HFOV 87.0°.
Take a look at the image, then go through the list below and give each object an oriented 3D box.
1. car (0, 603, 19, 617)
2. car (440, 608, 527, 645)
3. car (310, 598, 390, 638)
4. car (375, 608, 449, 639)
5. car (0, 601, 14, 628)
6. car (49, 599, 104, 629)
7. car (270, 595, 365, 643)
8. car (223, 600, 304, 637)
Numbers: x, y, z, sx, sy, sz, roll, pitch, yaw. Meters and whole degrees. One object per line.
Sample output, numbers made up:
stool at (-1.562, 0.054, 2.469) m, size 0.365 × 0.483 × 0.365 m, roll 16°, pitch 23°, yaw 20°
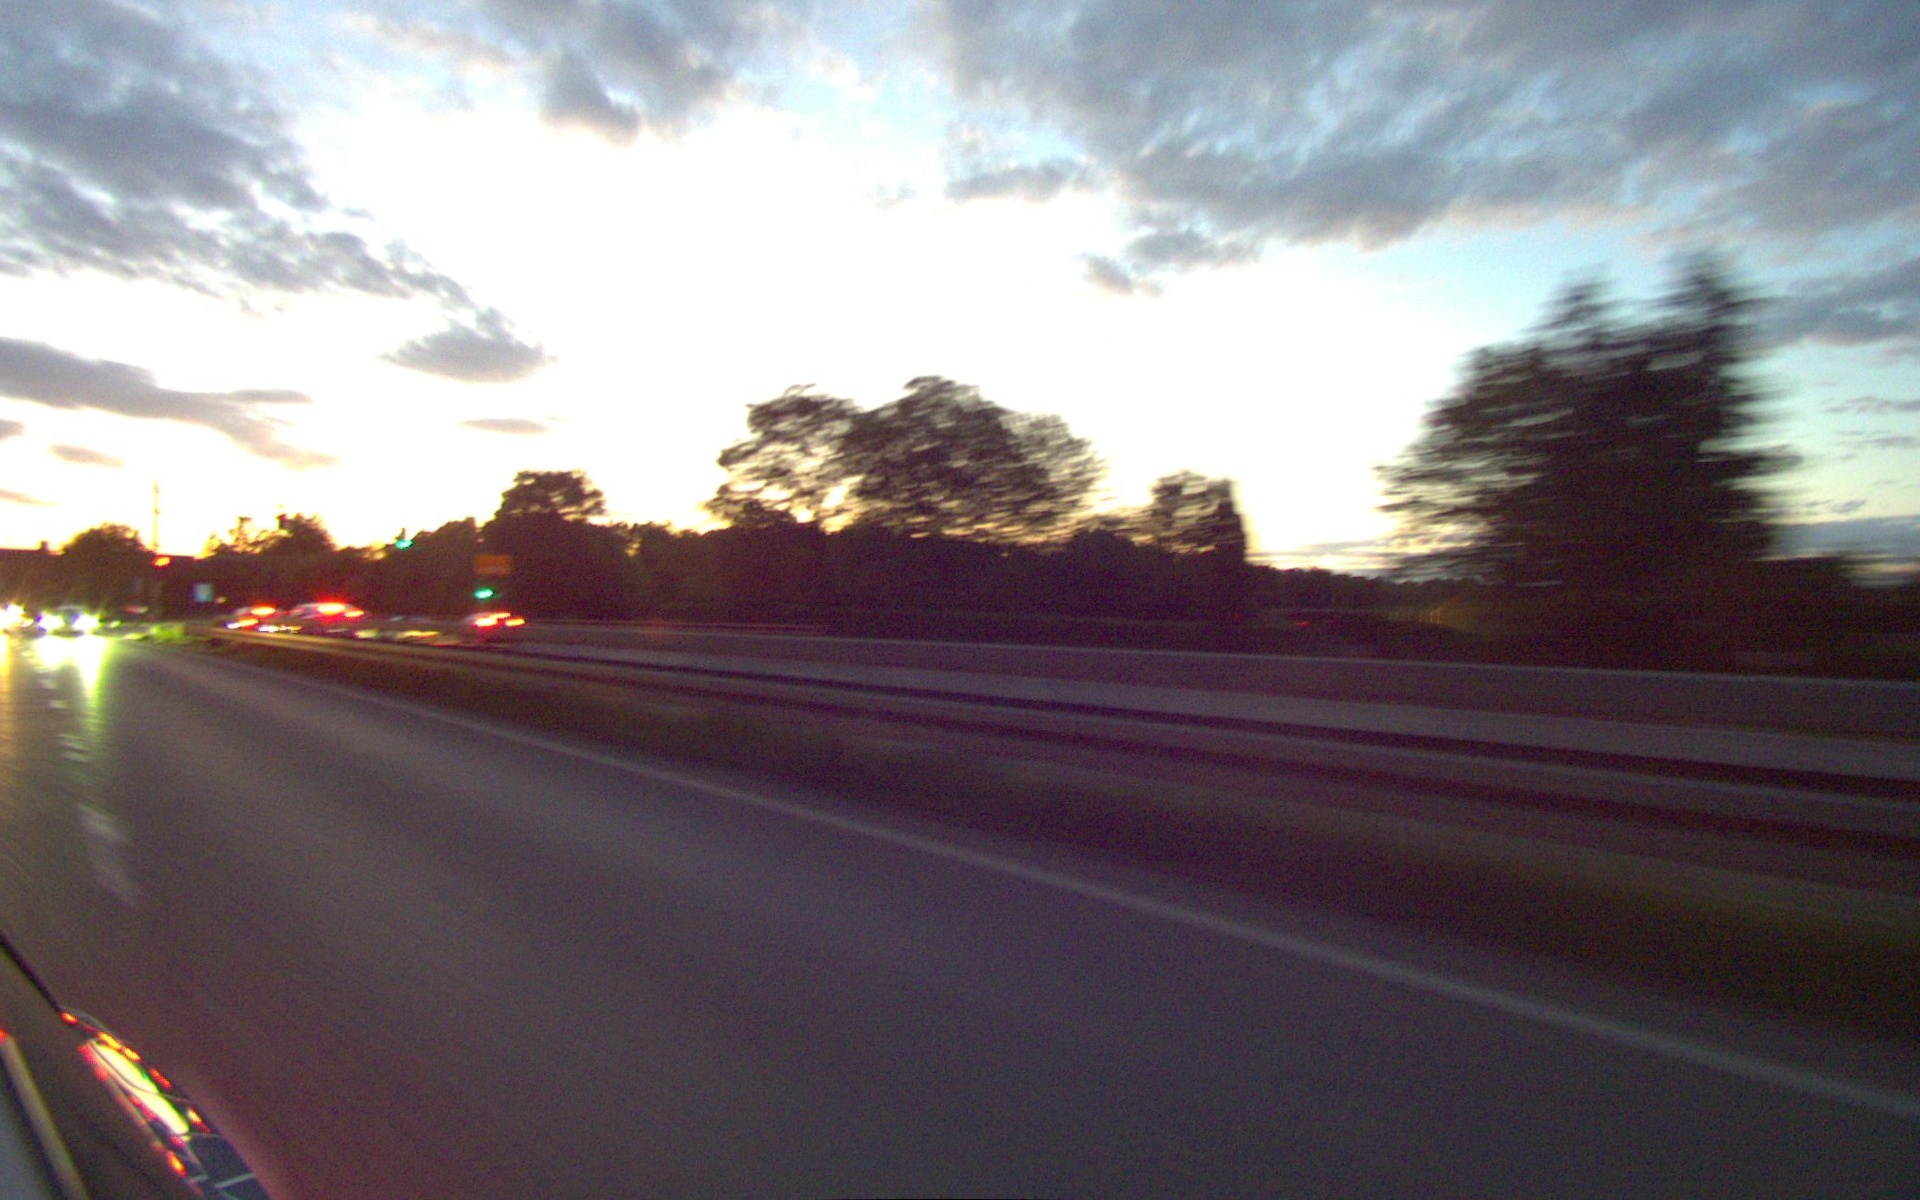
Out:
car at (-114.044, 1.157, 120.935) m, size 2.026 × 1.608 × 4.008 m, roll 1°, pitch -1°, yaw -38°
car at (-20.789, 1.128, 44.023) m, size 1.970 × 1.464 × 4.738 m, roll 2°, pitch -1°, yaw -44°
car at (-28.437, 0.799, 47.089) m, size 4.875 × 1.694 × 1.971 m, roll 1°, pitch -1°, yaw 44°
car at (-27.822, 1.186, 51.328) m, size 4.736 × 1.464 × 1.971 m, roll -1°, pitch -2°, yaw 45°
car at (-52.611, 0.754, 54.668) m, size 4.001 × 1.464 × 1.971 m, roll 0°, pitch -3°, yaw 44°
car at (-45.391, 0.700, 51.940) m, size 1.970 × 1.464 × 4.739 m, roll 1°, pitch 0°, yaw -43°
car at (-22.978, 0.658, 36.121) m, size 1.970 × 1.582 × 4.827 m, roll 2°, pitch -2°, yaw -43°
car at (-29.217, 0.758, 42.391) m, size 1.970 × 1.464 × 5.051 m, roll 2°, pitch -2°, yaw -44°
